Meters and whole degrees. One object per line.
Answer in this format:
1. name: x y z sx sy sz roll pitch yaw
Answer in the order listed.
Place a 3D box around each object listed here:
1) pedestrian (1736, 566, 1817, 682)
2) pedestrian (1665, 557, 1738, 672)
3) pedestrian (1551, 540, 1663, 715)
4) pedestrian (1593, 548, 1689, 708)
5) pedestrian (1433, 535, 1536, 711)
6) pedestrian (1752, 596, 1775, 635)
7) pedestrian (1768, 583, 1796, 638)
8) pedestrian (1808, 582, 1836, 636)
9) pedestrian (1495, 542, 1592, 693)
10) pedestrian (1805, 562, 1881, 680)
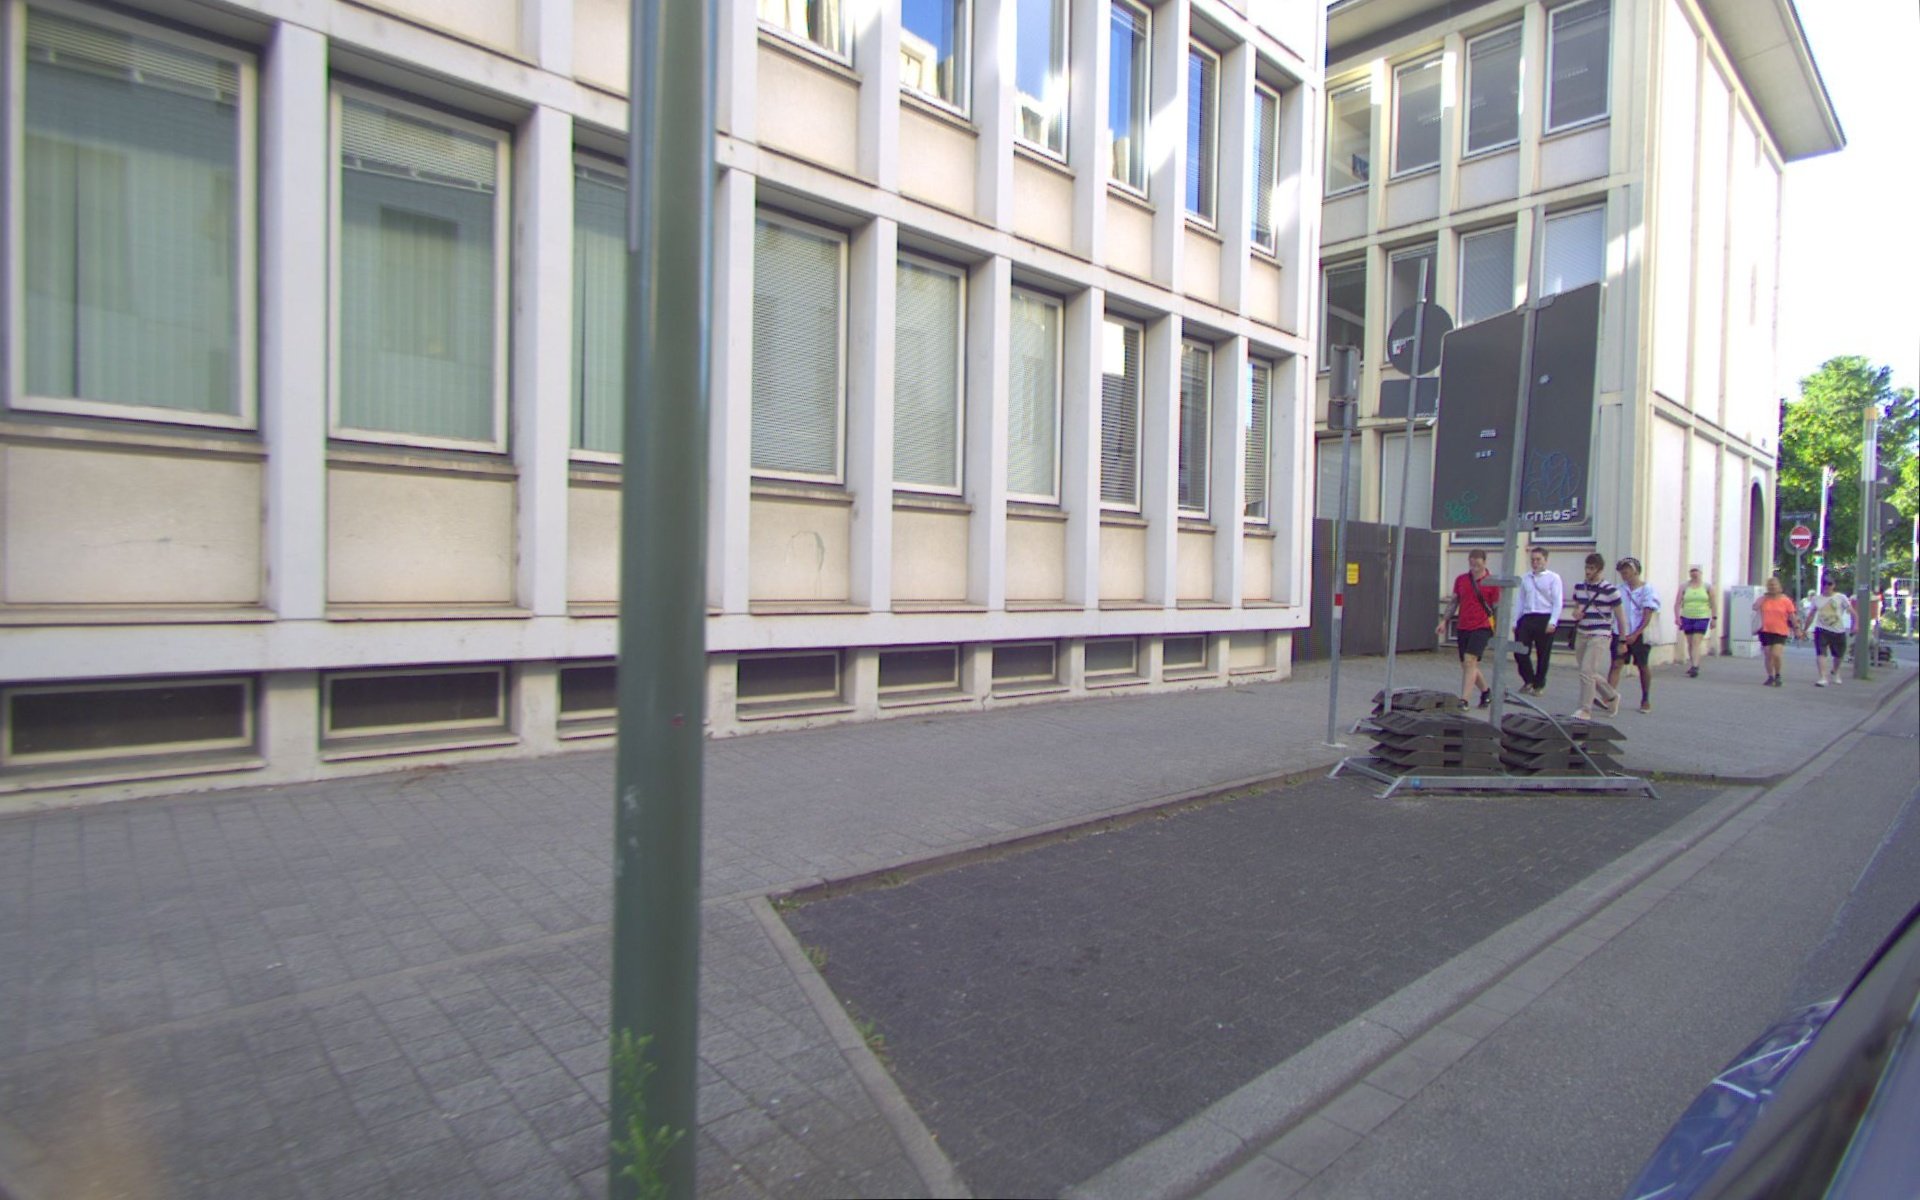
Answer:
1. pedestrian: 12.321 0.346 15.274 0.681 1.655 0.685 0 6 -41
2. pedestrian: 11.702 0.207 15.969 0.681 1.736 0.685 0 4 -41
3. pedestrian: 7.104 0.281 11.121 0.681 1.799 0.685 0 7 -41
4. pedestrian: 8.015 0.305 11.915 0.681 1.800 0.685 0 3 -41
5. pedestrian: 5.644 0.228 10.907 0.583 1.799 0.685 0 5 -40
6. pedestrian: 25.276 0.467 31.835 0.533 1.191 0.614 1 1 42
7. pedestrian: 25.157 0.301 30.985 0.624 1.662 0.614 1 1 42
8. pedestrian: 26.424 0.266 31.018 0.624 1.634 0.614 1 1 42
9. pedestrian: 7.377 0.202 12.803 0.681 1.799 0.685 0 7 -41
10. pedestrian: 13.674 0.308 15.678 0.681 1.736 0.685 0 4 -41
